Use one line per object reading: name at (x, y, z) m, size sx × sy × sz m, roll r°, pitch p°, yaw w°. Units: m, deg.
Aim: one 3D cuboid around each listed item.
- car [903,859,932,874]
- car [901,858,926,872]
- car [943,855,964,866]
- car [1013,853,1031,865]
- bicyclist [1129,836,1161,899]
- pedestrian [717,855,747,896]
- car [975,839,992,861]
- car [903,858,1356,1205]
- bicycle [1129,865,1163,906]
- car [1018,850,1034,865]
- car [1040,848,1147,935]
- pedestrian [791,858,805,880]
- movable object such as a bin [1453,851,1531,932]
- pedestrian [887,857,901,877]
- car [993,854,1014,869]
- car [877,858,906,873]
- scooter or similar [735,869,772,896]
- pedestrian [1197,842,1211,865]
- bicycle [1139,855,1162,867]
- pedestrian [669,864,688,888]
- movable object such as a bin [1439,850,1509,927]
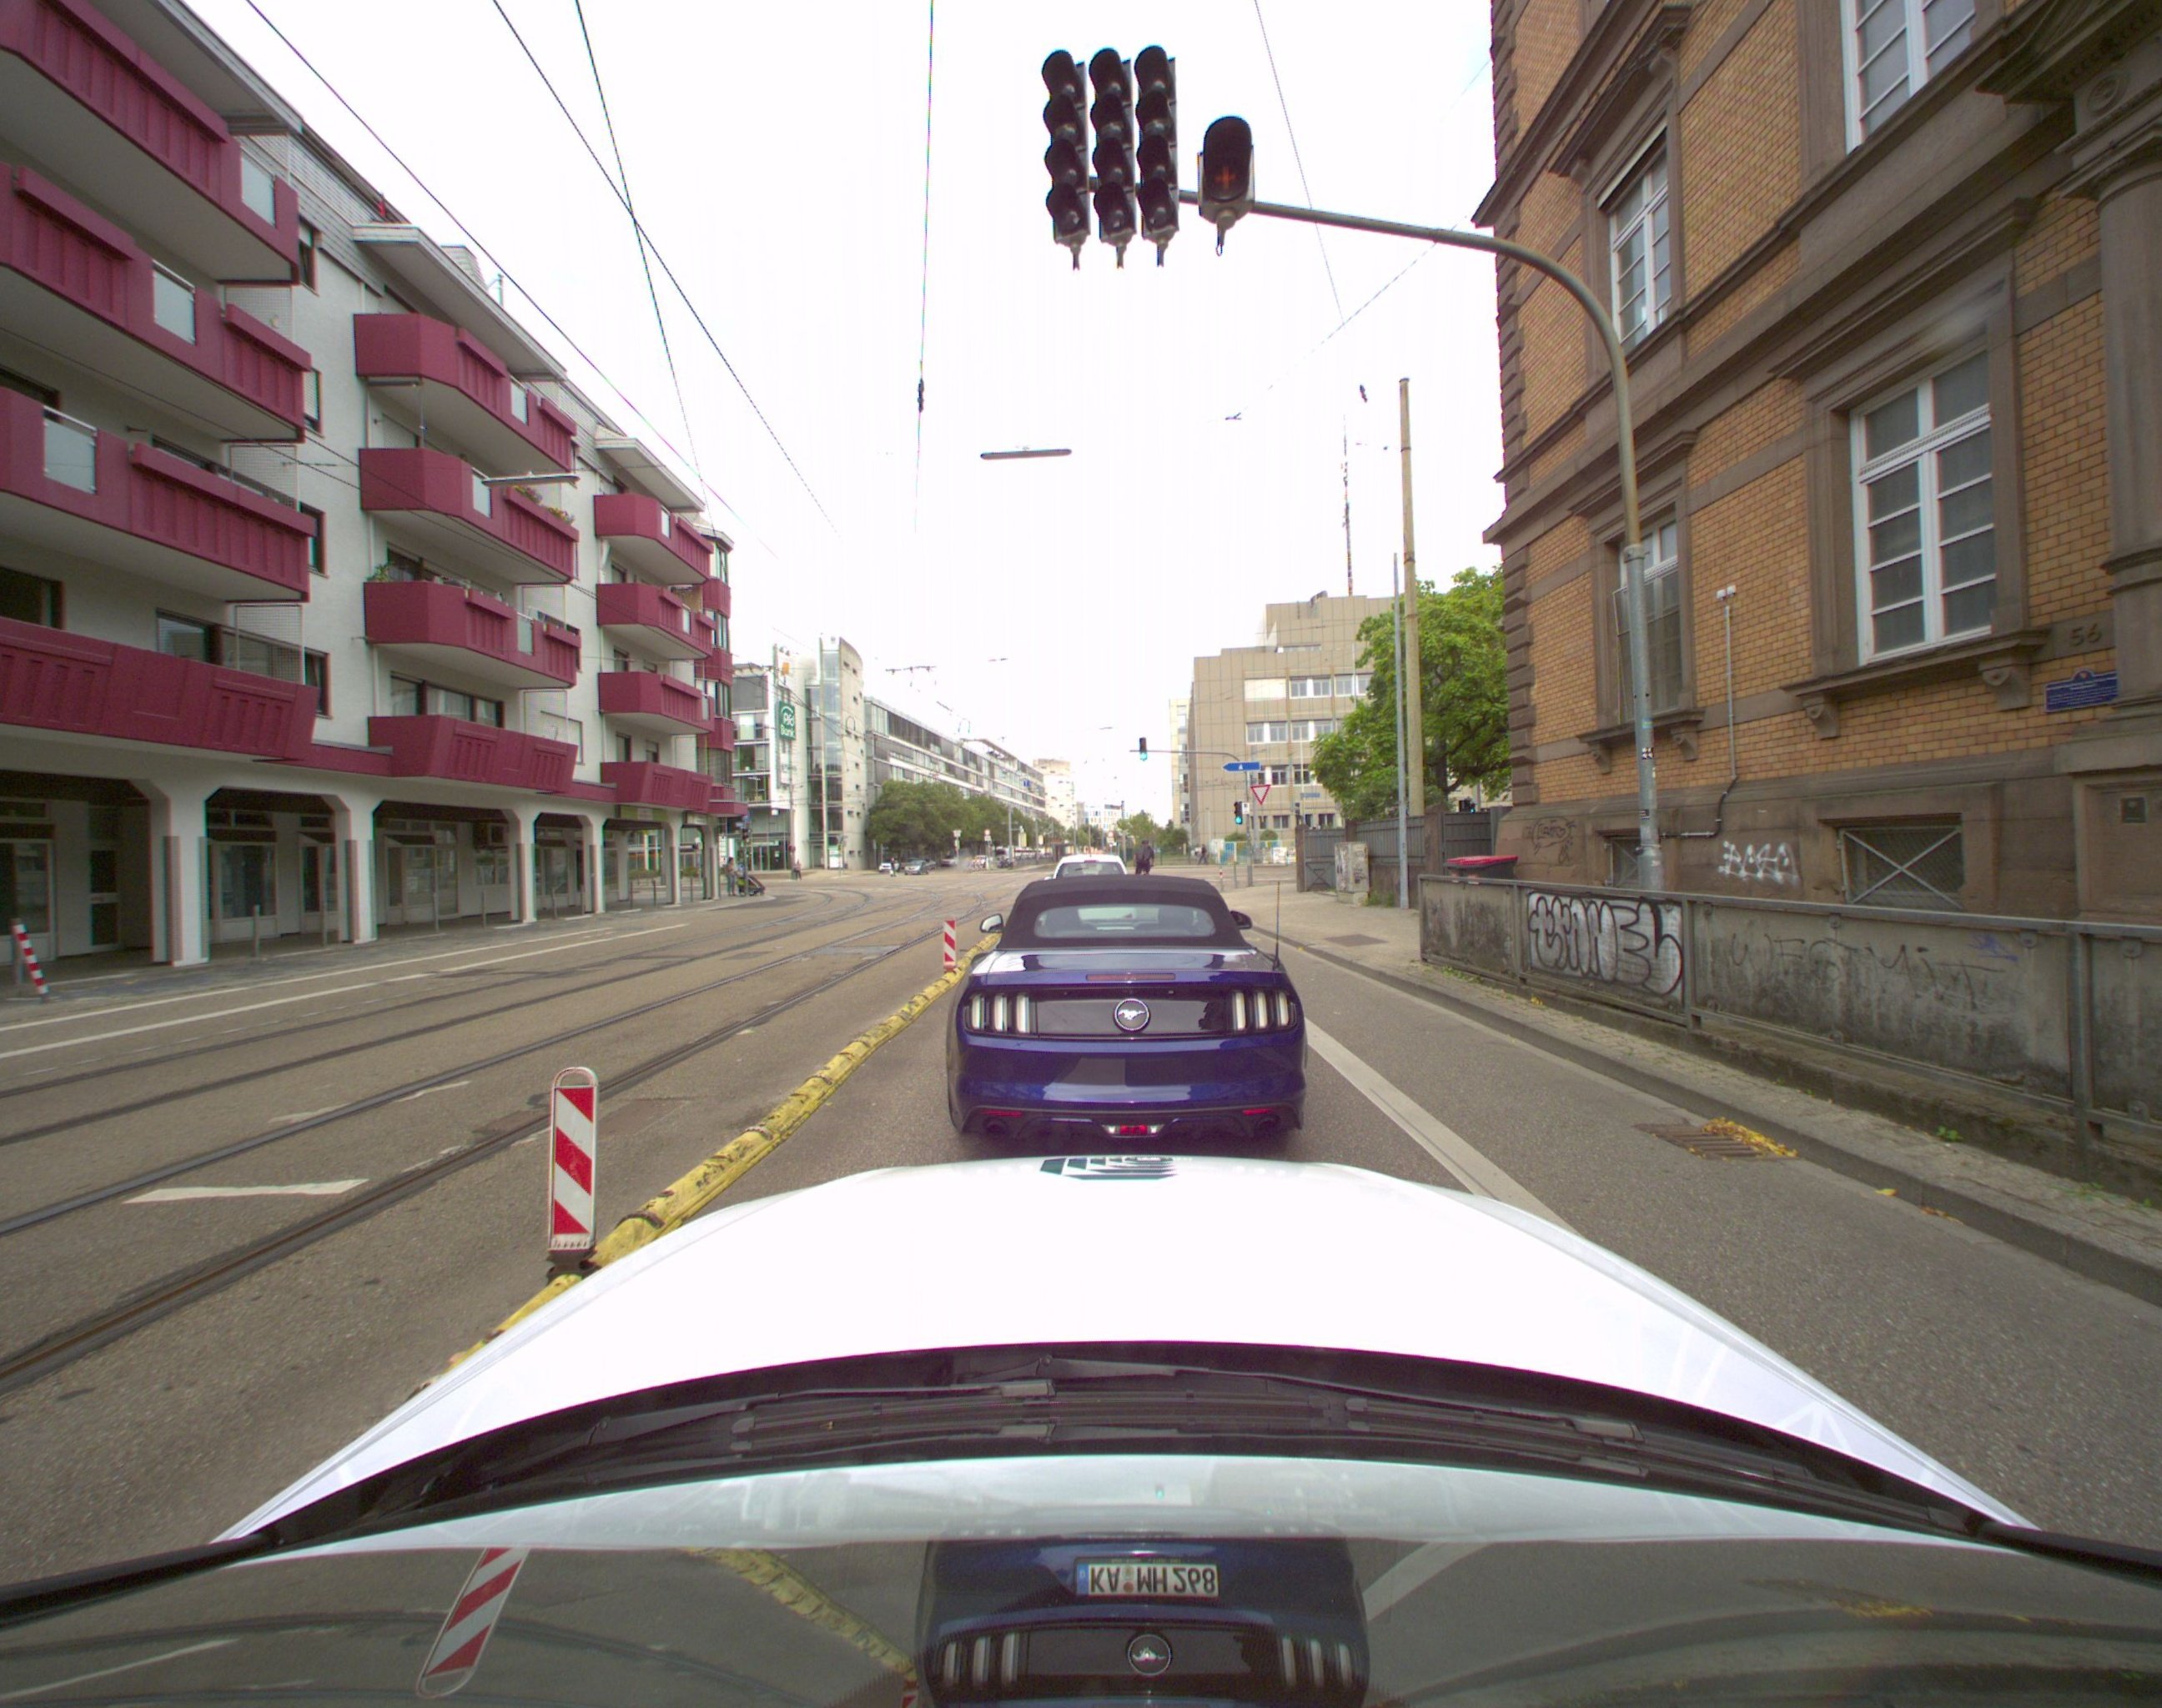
car at (-16.771, 1.280, 83.688) m, size 1.659 × 1.506 × 4.242 m, roll 0°, pitch 0°, yaw 6°
car at (-20.262, 1.341, 98.838) m, size 1.820 × 1.556 × 4.223 m, roll 0°, pitch 0°, yaw 6°
car at (-18.303, 0.965, 117.001) m, size 1.978 × 1.556 × 4.516 m, roll 0°, pitch 0°, yaw 3°
car at (-8.015, 0.696, 111.191) m, size 1.861 × 1.605 × 4.214 m, roll -2°, pitch 0°, yaw 2°
bicyclist at (1.876, 0.382, 24.022) m, size 0.793 × 1.785 × 1.233 m, roll -2°, pitch 0°, yaw 0°
pedestrian at (-15.271, 0.941, 35.643) m, size 0.945 × 1.743 × 0.811 m, roll -2°, pitch 0°, yaw -2°
car at (-16.219, -0.630, 135.988) m, size 1.978 × 3.636 × 4.516 m, roll 0°, pitch 0°, yaw 3°
car at (0.278, 0.751, 5.528) m, size 1.869 × 1.404 × 4.284 m, roll 0°, pitch 0°, yaw 2°
bicycle at (1.885, 0.898, 23.795) m, size 0.798 × 1.086 × 2.131 m, roll -2°, pitch 0°, yaw 0°
car at (-7.836, 0.499, 116.358) m, size 1.778 × 1.987 × 4.123 m, roll -2°, pitch 0°, yaw 2°
car at (0.144, 0.655, 16.316) m, size 1.831 × 1.439 × 4.183 m, roll -2°, pitch 0°, yaw -2°
pedestrian at (-25.326, 1.328, 72.997) m, size 0.828 × 1.865 × 0.769 m, roll -2°, pitch 0°, yaw 14°
movable object such as a bin at (5.966, 0.529, 11.846) m, size 0.662 × 1.082 × 0.700 m, roll -5°, pitch -1°, yaw -3°
pedestrian at (-17.797, 1.207, 77.538) m, size 0.983 × 1.855 × 0.904 m, roll -2°, pitch 0°, yaw 8°
car at (-9.279, 0.850, 97.676) m, size 1.872 × 1.628 × 4.089 m, roll -2°, pitch 0°, yaw 2°
car at (-21.280, 1.260, 91.583) m, size 1.820 × 1.556 × 4.223 m, roll 0°, pitch 0°, yaw 6°
scooter or similar at (-14.335, 1.256, 35.696) m, size 1.192 × 1.128 × 0.946 m, roll -1°, pitch 0°, yaw -1°
pedestrian at (10.492, -0.052, 69.583) m, size 1.080 × 1.898 × 0.904 m, roll -2°, pitch 0°, yaw 7°
bicycle at (6.187, 0.637, 72.754) m, size 0.637 × 0.981 × 2.133 m, roll -2°, pitch -2°, yaw -40°
pedestrian at (-28.721, 1.551, 58.114) m, size 0.928 × 1.671 × 0.769 m, roll -2°, pitch 0°, yaw 14°
movable object such as a bin at (6.048, 0.521, 12.561) m, size 0.649 × 1.082 × 0.677 m, roll -5°, pitch -1°, yaw -4°
